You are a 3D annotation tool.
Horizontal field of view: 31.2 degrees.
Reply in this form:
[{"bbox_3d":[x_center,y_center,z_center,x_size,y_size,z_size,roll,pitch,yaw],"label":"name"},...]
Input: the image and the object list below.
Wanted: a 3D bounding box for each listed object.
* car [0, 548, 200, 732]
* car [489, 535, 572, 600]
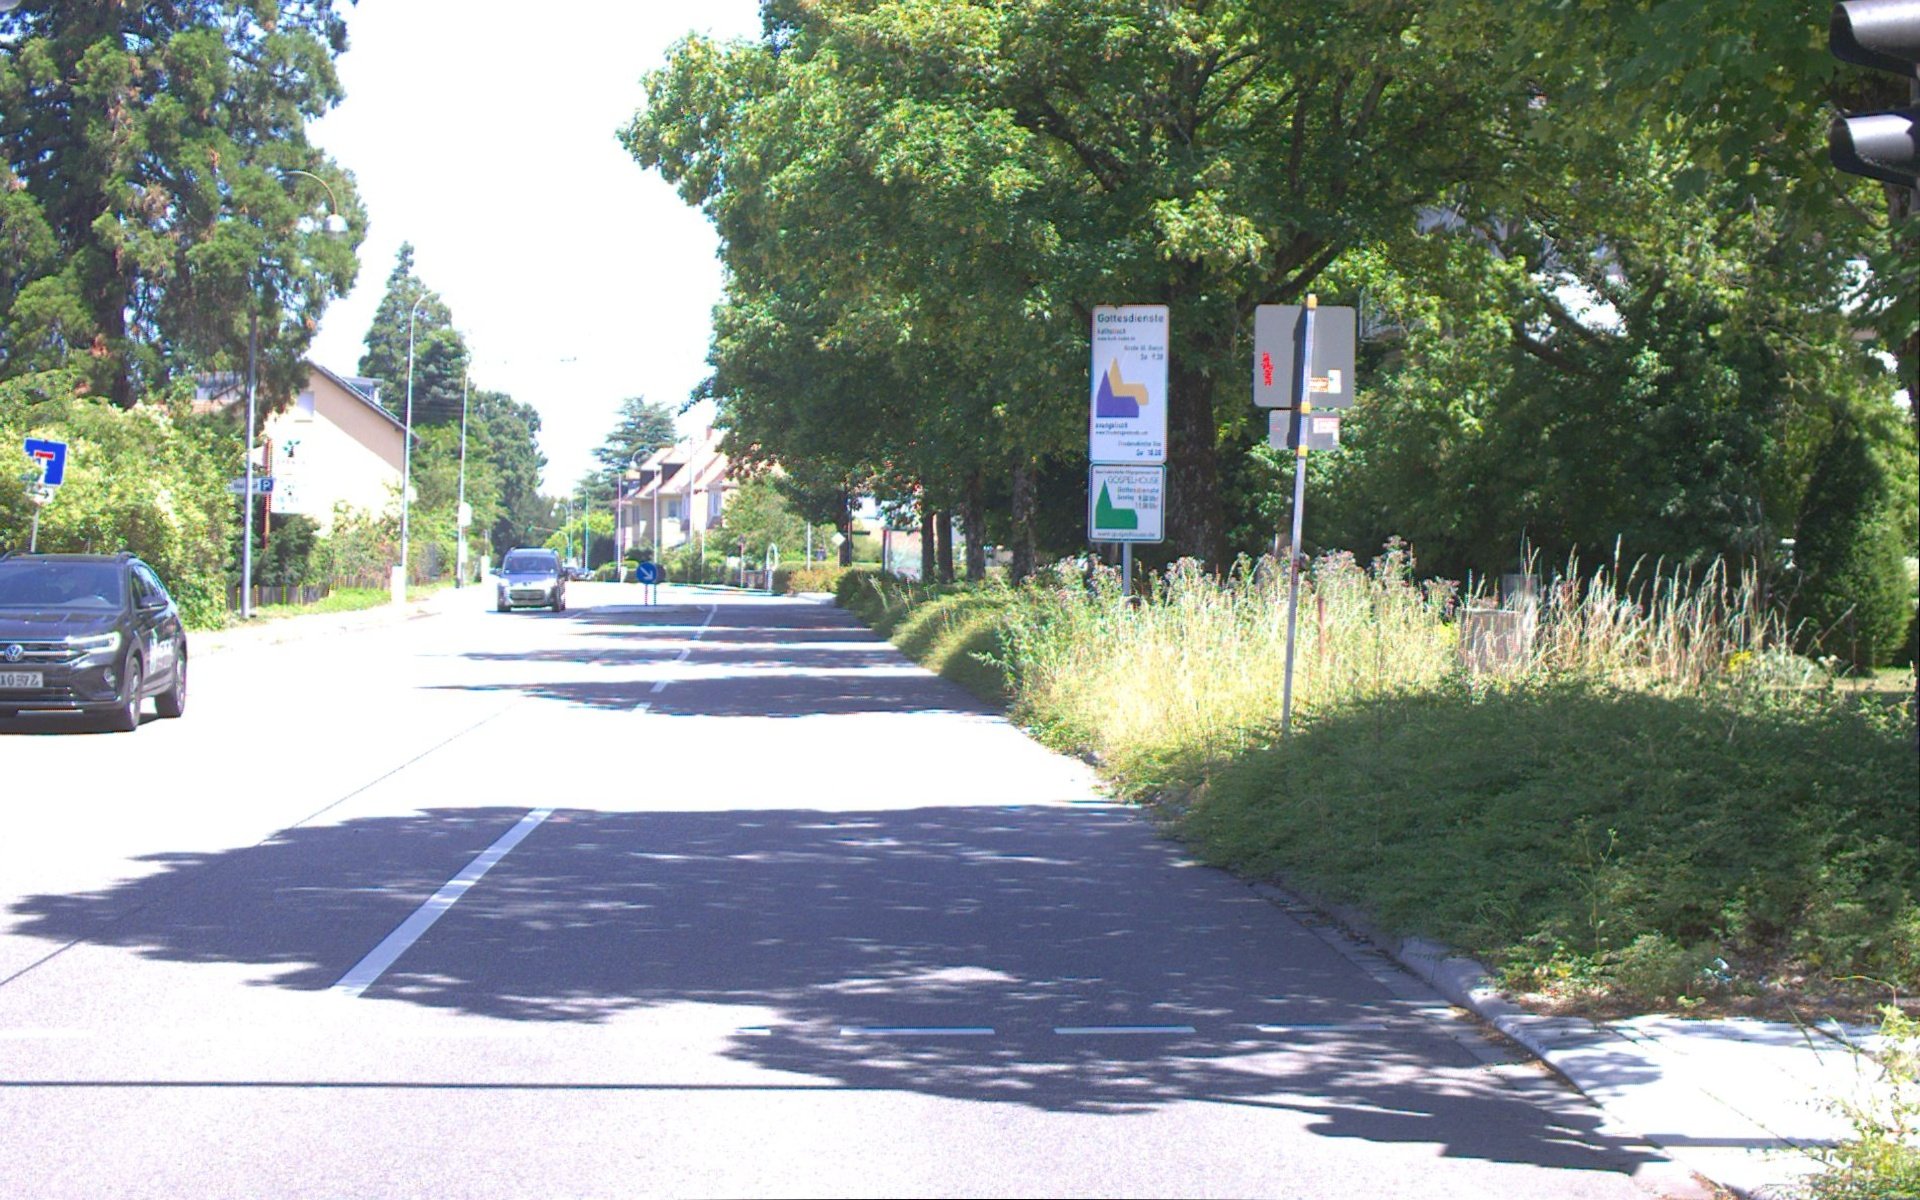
[{"bbox_3d":[-7.903,0.298,30.163,1.869,1.501,4.053,0,1,-5],"label":"car"},{"bbox_3d":[-12.115,-0.937,97.155,1.811,1.756,4.570,1,1,-1],"label":"car"}]
